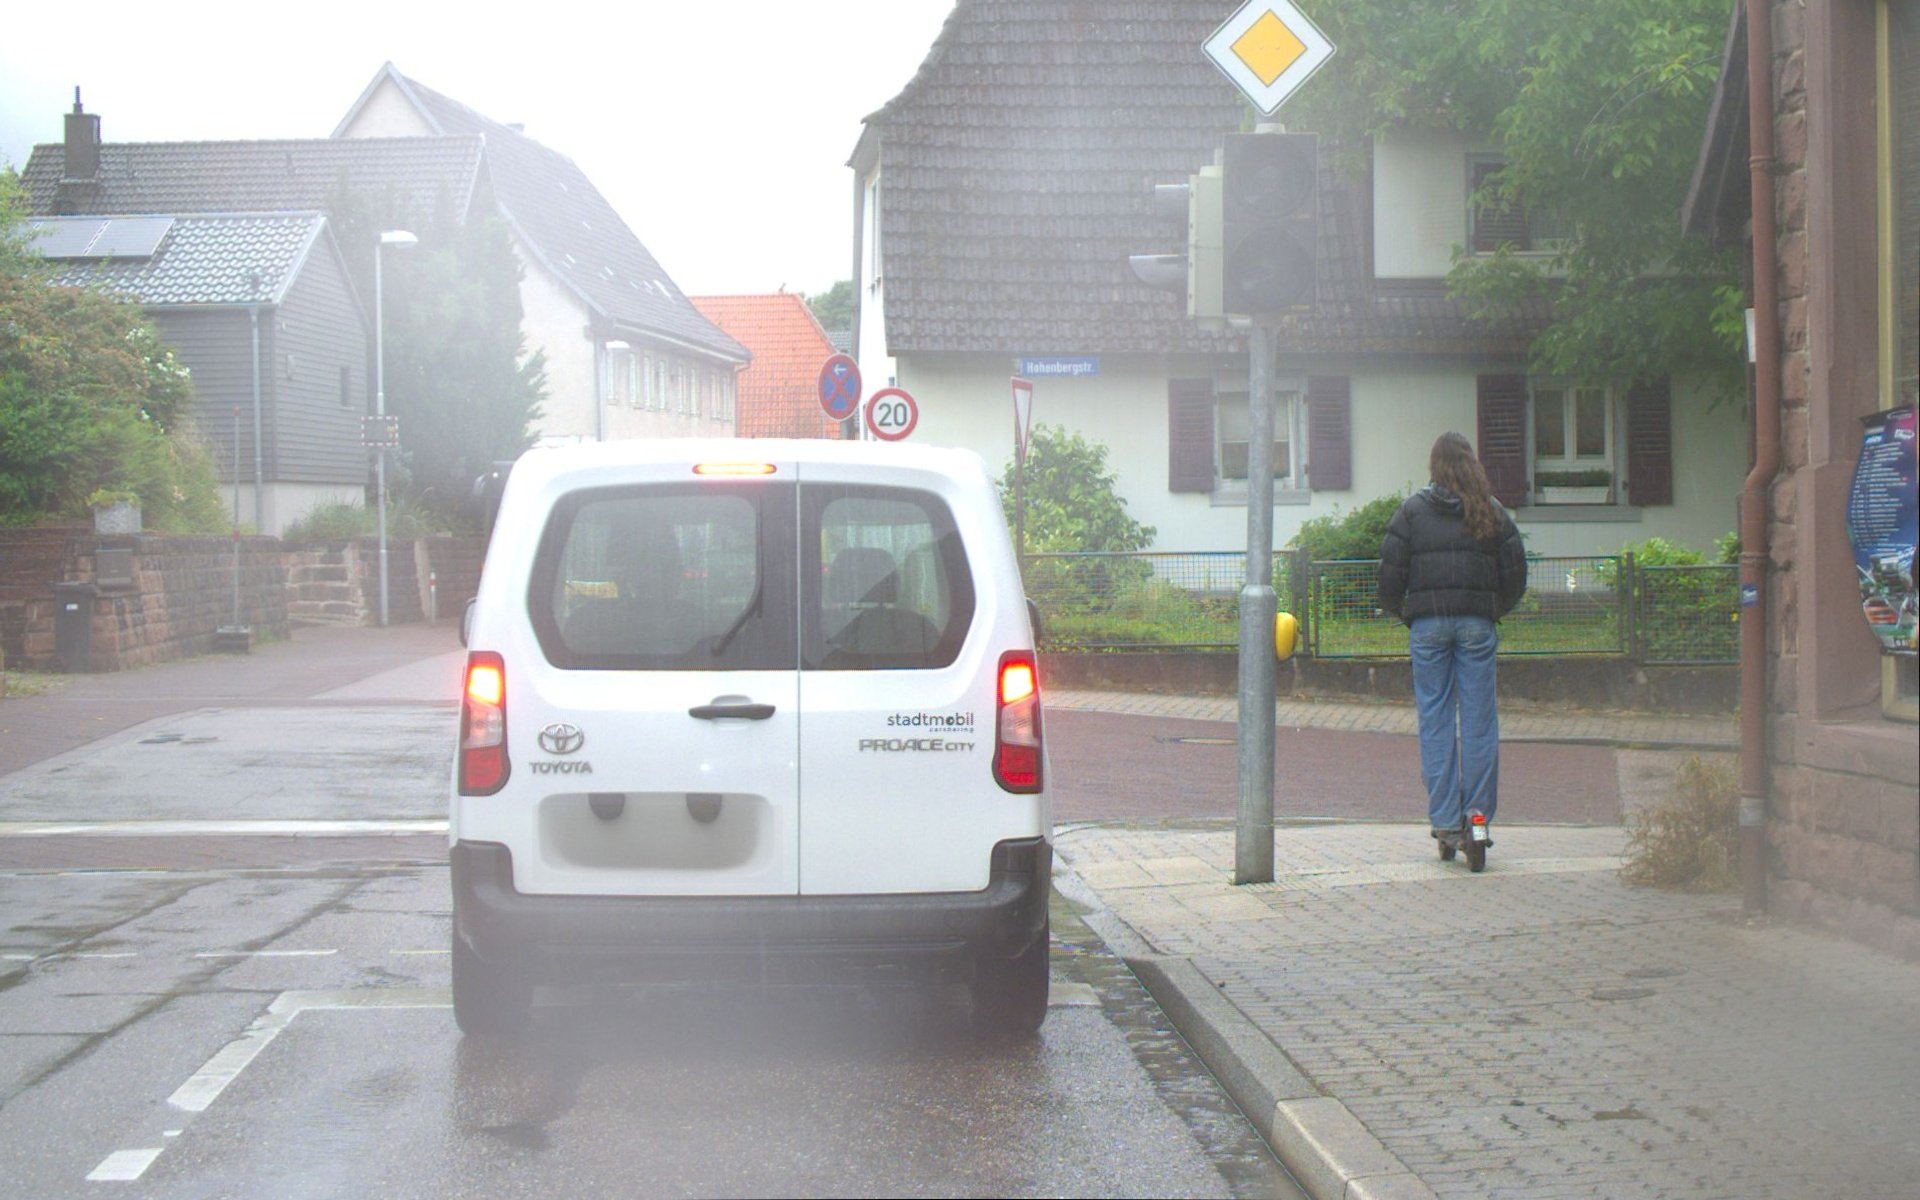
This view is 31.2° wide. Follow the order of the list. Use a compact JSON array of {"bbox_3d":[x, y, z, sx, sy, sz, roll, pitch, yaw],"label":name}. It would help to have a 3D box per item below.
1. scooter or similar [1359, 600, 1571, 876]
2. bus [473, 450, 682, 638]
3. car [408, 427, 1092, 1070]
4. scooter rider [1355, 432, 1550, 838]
[{"bbox_3d":[2.149,0.569,14.778,0.620,1.123,1.402,0,0,-3],"label":"scooter or similar"},{"bbox_3d":[-6.665,-1.166,61.624,2.649,2.989,12.195,0,3,-1],"label":"bus"},{"bbox_3d":[-0.698,0.382,11.565,1.894,1.787,3.814,1,1,-3],"label":"car"},{"bbox_3d":[2.127,0.151,14.894,0.731,1.727,0.518,0,-1,-3],"label":"scooter rider"}]
